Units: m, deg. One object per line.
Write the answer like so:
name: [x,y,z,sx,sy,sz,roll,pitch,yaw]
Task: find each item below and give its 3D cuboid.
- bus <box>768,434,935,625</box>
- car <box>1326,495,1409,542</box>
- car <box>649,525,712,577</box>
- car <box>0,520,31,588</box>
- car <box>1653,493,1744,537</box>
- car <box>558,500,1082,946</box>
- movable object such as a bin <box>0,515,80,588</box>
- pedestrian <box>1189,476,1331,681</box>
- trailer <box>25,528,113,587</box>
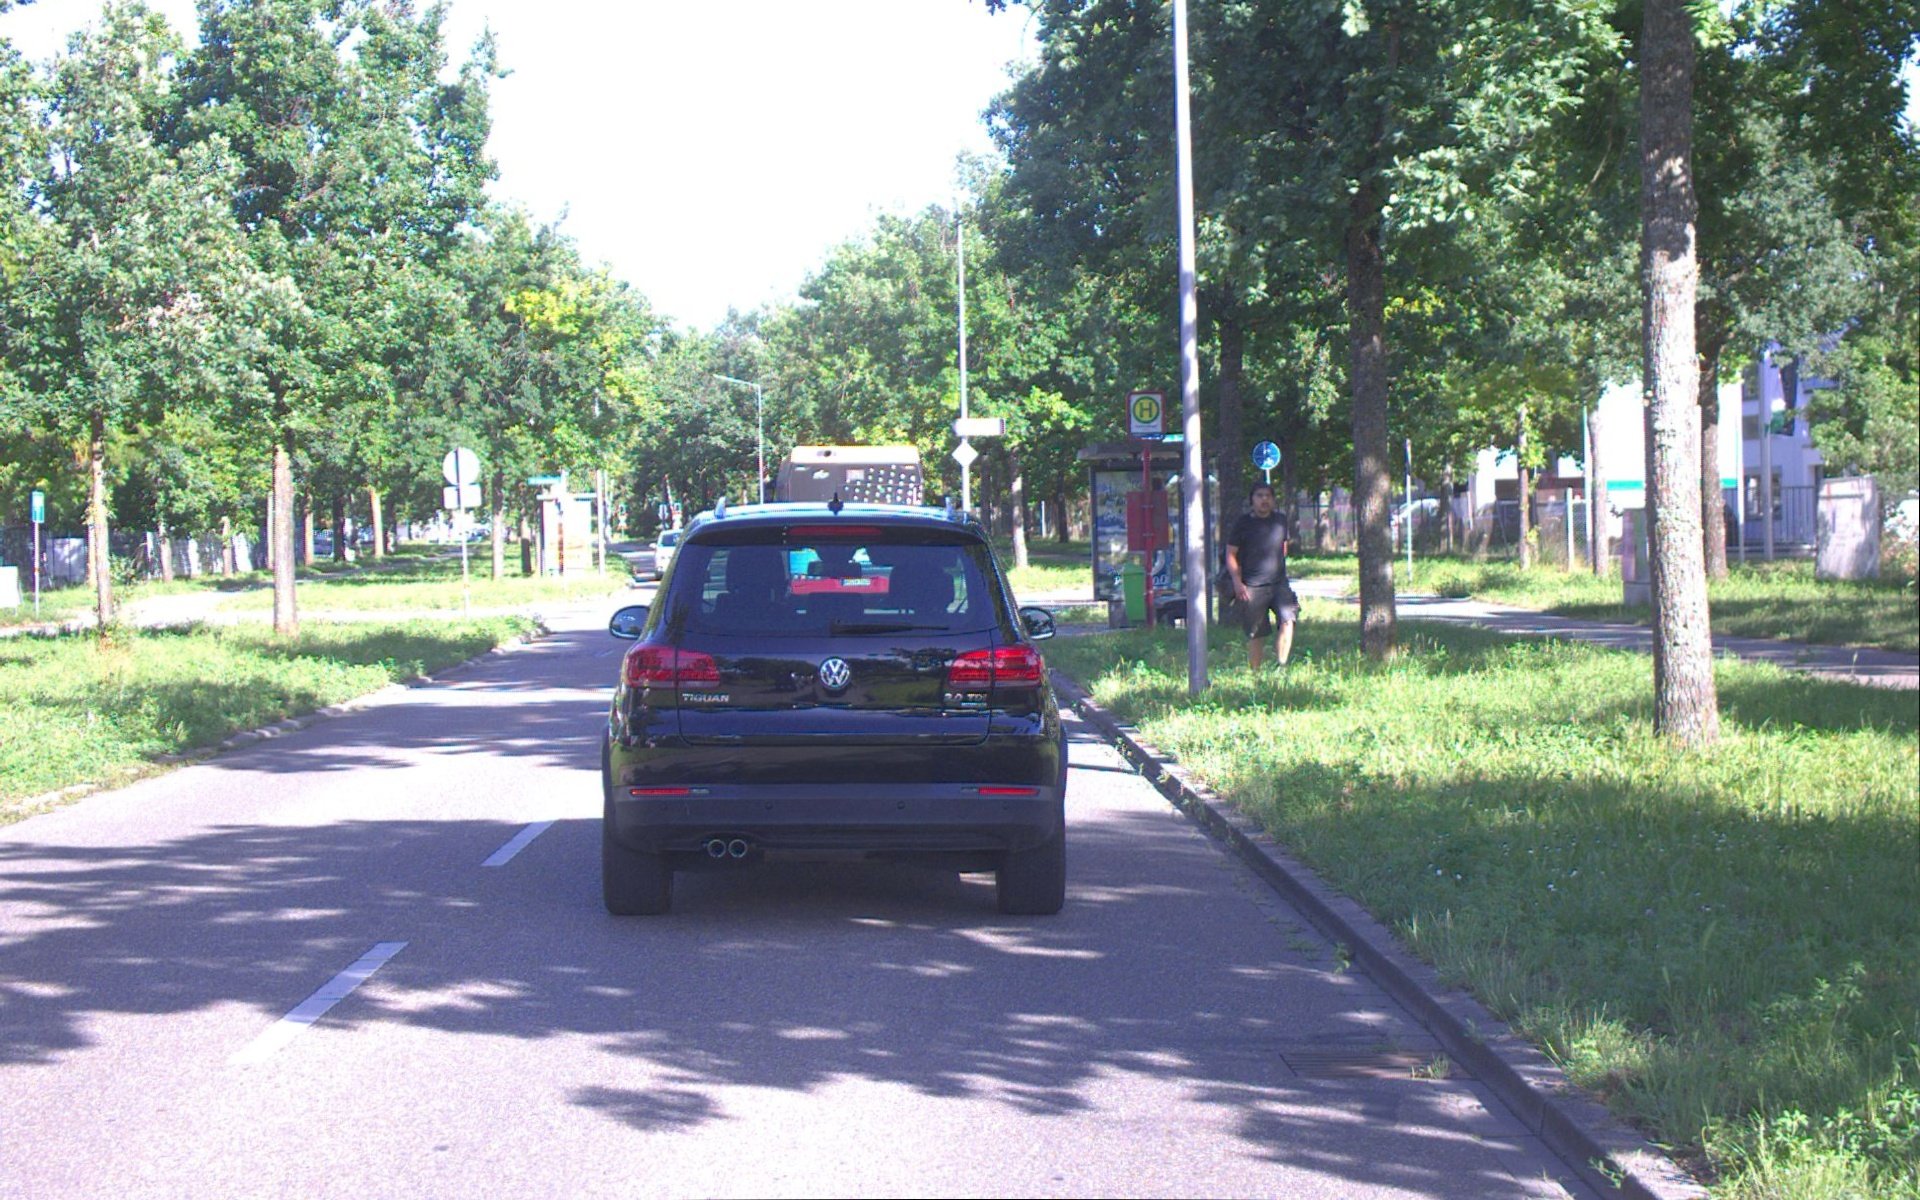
bus: [-2.312,-1.440,68.913,2.764,3.444,11.213,-1,2,-4]
car: [15.782,-3.158,133.388,2.184,1.738,4.643,-2,2,-6]
car: [-8.381,-1.480,102.844,1.744,1.460,4.428,-2,2,-5]
car: [-29.268,-1.355,102.301,2.035,1.981,5.808,-2,1,-4]
car: [24.101,-2.771,112.278,1.764,1.379,3.769,-1,2,-7]
car: [-0.571,0.394,14.955,1.936,1.650,4.427,0,2,-1]
movable object such as a bin: [-29.316,-1.560,108.430,2.102,2.209,4.461,-1,2,-3]
pedestrian: [2.486,-0.188,28.579,1.019,1.646,1.100,-2,1,-1]
trailer: [-29.934,-1.447,115.548,2.102,1.908,3.741,-1,2,-3]
